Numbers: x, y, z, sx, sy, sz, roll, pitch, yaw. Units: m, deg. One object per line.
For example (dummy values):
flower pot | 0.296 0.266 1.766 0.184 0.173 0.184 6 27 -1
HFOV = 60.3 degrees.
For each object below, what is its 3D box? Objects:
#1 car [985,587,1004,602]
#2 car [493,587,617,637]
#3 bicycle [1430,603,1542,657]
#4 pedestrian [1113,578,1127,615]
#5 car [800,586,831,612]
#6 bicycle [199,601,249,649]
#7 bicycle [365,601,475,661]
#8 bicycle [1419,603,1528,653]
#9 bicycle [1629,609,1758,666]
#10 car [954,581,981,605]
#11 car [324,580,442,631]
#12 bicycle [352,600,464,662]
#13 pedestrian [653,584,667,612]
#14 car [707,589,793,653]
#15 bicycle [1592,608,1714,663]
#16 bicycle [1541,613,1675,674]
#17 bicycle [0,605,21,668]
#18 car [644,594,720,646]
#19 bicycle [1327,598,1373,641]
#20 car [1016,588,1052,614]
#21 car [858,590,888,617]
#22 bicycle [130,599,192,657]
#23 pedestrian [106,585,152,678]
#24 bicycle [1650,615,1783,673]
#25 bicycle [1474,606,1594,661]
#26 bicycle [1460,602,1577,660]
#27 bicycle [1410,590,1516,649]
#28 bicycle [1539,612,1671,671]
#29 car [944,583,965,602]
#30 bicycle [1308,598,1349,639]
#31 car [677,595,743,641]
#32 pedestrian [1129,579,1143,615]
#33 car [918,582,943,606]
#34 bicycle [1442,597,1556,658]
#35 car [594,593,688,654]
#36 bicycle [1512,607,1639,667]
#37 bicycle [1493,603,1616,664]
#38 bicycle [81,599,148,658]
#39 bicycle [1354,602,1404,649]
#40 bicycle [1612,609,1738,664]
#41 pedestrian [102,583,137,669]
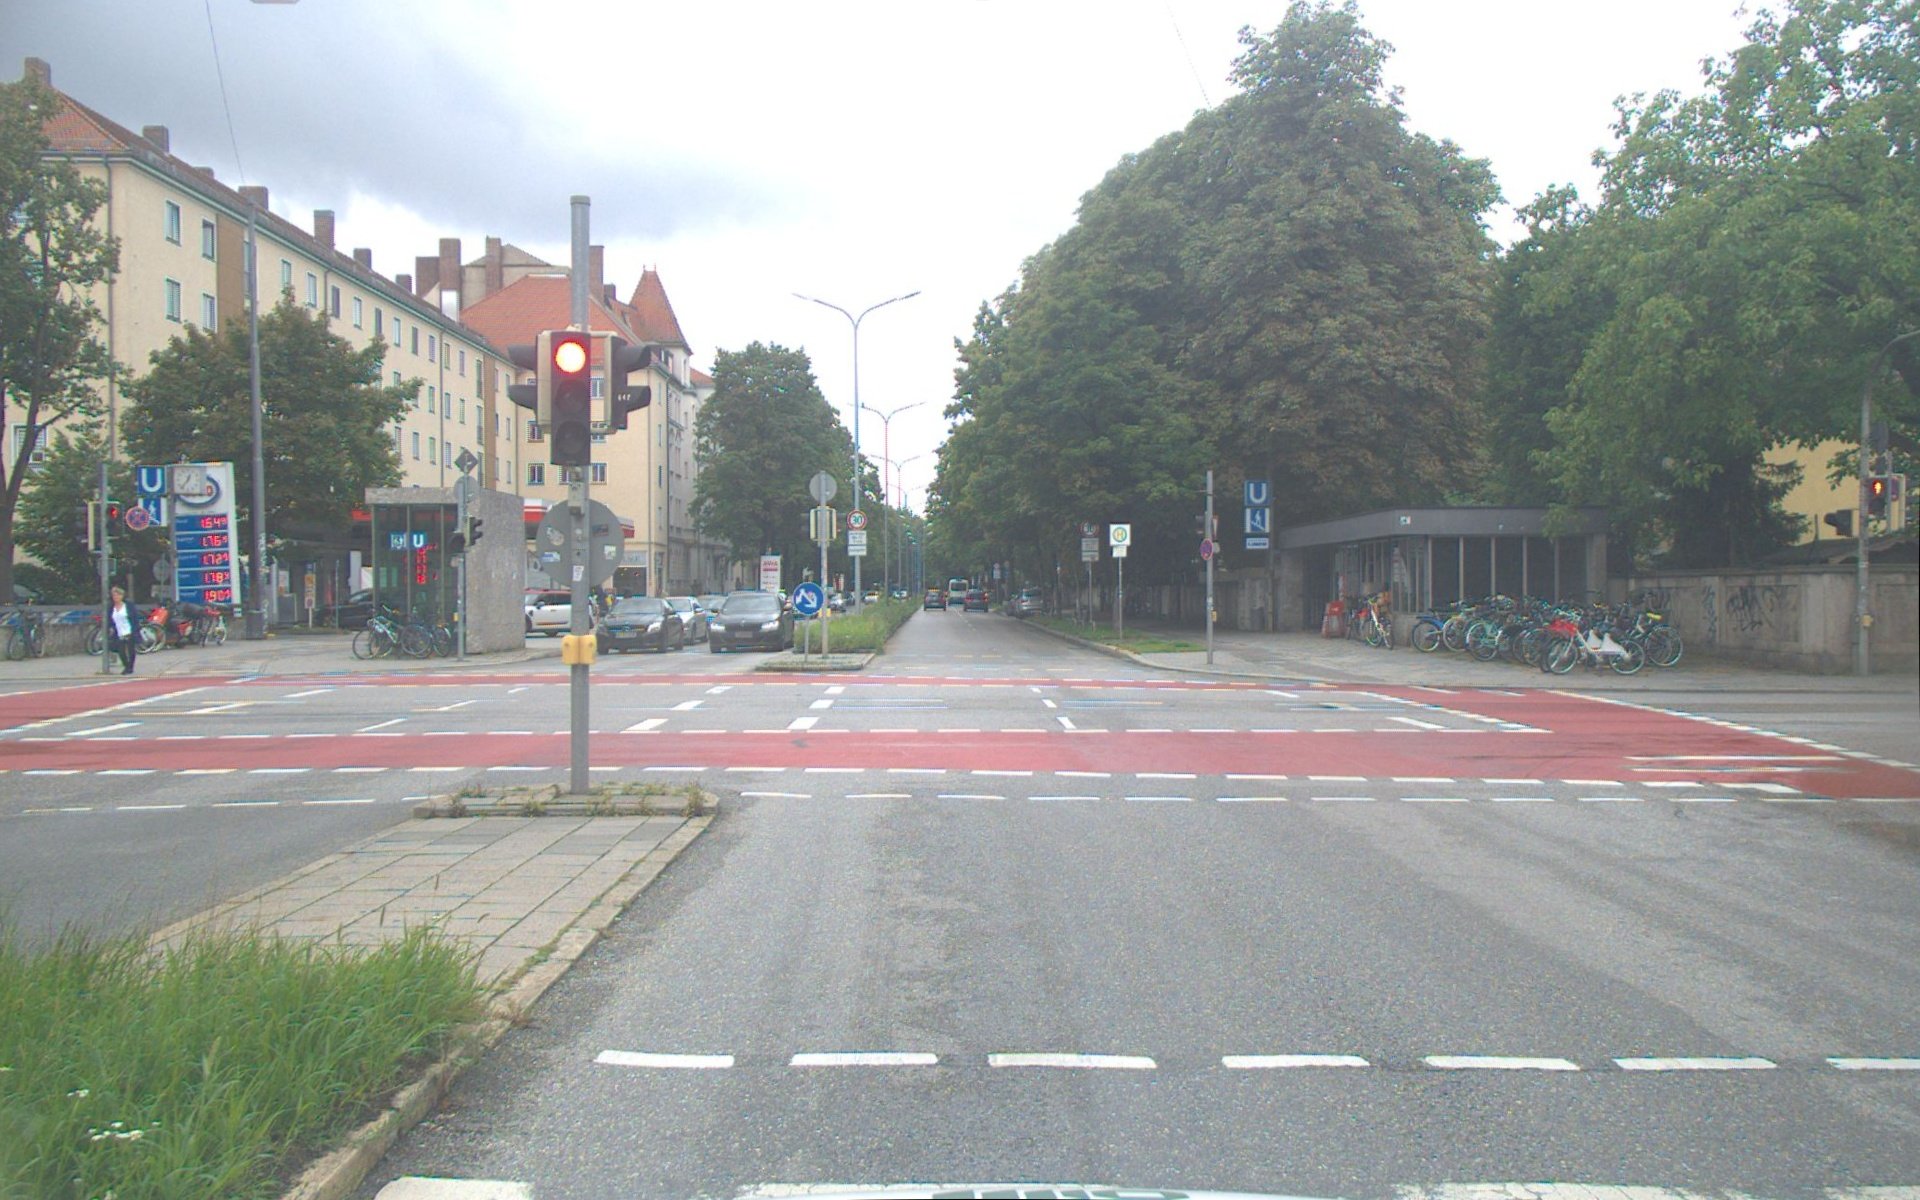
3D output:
car | 3.340 -0.569 161.260 1.708 1.452 3.898 0 0 -1
car | -13.832 0.389 56.681 1.780 1.637 3.952 0 1 36
bicycle | 10.761 0.611 33.874 2.097 1.080 0.603 0 0 7
pedestrian | 7.574 -0.161 78.481 0.663 1.712 0.683 0 0 5
car | -9.426 -0.088 108.201 1.839 1.697 3.998 0 0 -3
bicycle | -18.690 0.626 42.047 0.596 1.165 1.963 0 0 -7
bicycle | -12.161 0.691 37.295 2.238 1.327 0.694 0 0 0
bicycle | 10.777 0.579 34.756 2.097 1.032 0.603 0 0 7
bicycle | 13.582 0.691 30.674 2.097 1.032 0.634 0 0 7
car | 0.534 -0.492 121.020 1.883 1.713 3.999 1 0 -1
car | -22.096 0.198 63.464 3.908 1.870 1.879 0 0 -4
bicycle | -12.174 0.682 36.515 2.225 1.327 0.704 0 0 0
pedestrian | -17.863 -0.120 98.501 0.682 1.666 0.738 0 0 -1
car | -5.312 0.498 42.224 1.724 1.519 3.999 0 0 -1
bicycle | 13.486 0.690 32.234 2.097 1.032 0.634 0 0 7
bicycle | 11.314 0.757 28.915 2.097 1.032 0.603 0 0 7
bicycle | -20.469 0.722 33.296 2.677 1.273 0.785 1 0 -32
car | -8.444 0.574 50.518 1.724 1.486 3.999 0 0 -1
bicycle | 9.586 0.464 40.705 0.545 1.032 2.014 0 0 -3
car | 4.074 0.042 91.495 1.708 1.387 3.805 0 0 -1
car | -4.580 0.167 87.424 1.438 1.423 3.699 0 0 -1
bicycle | -18.294 0.620 37.907 0.596 1.257 2.184 0 0 -7
pedestrian | -15.475 0.579 30.814 0.522 1.725 0.577 0 0 10
bicycle | 13.644 0.794 29.878 2.097 1.032 0.634 0 0 7
bicycle | 10.990 0.642 31.709 2.097 1.032 0.603 0 0 7
bicycle | 10.940 0.603 32.438 2.097 1.105 0.603 0 0 7
bicycle | 10.766 0.410 35.475 2.097 1.240 0.603 0 0 7
bicycle | 11.501 0.742 29.542 2.097 1.032 0.634 0 0 7
car | -0.578 -0.745 162.974 1.953 1.787 3.999 0 0 -1
bicycle | 9.825 0.480 44.143 0.545 1.032 2.014 0 0 -3
car | -8.584 0.590 57.073 1.724 1.486 3.999 0 0 -1
pedestrian | 8.371 -0.143 78.690 0.663 1.712 0.683 0 0 5
car | -2.165 -0.454 122.139 1.819 1.713 3.999 0 0 -1
bicycle | 10.801 0.552 33.173 2.097 1.199 0.603 0 0 7
car | -8.294 0.576 43.285 1.724 1.486 3.999 0 0 -1
bicycle | 11.272 0.678 30.344 2.097 1.089 0.603 0 0 7
bicycle | 11.127 0.627 30.996 2.097 1.120 0.603 0 0 7
bicycle | -18.928 0.626 37.069 0.596 1.257 2.184 0 0 -7
bicycle | 9.605 0.567 37.973 0.545 1.032 2.014 0 0 -3
bicycle | 13.577 0.693 31.441 2.097 1.032 0.634 0 0 7
pedestrian | -16.956 0.515 33.363 0.584 1.725 0.571 0 0 -31
